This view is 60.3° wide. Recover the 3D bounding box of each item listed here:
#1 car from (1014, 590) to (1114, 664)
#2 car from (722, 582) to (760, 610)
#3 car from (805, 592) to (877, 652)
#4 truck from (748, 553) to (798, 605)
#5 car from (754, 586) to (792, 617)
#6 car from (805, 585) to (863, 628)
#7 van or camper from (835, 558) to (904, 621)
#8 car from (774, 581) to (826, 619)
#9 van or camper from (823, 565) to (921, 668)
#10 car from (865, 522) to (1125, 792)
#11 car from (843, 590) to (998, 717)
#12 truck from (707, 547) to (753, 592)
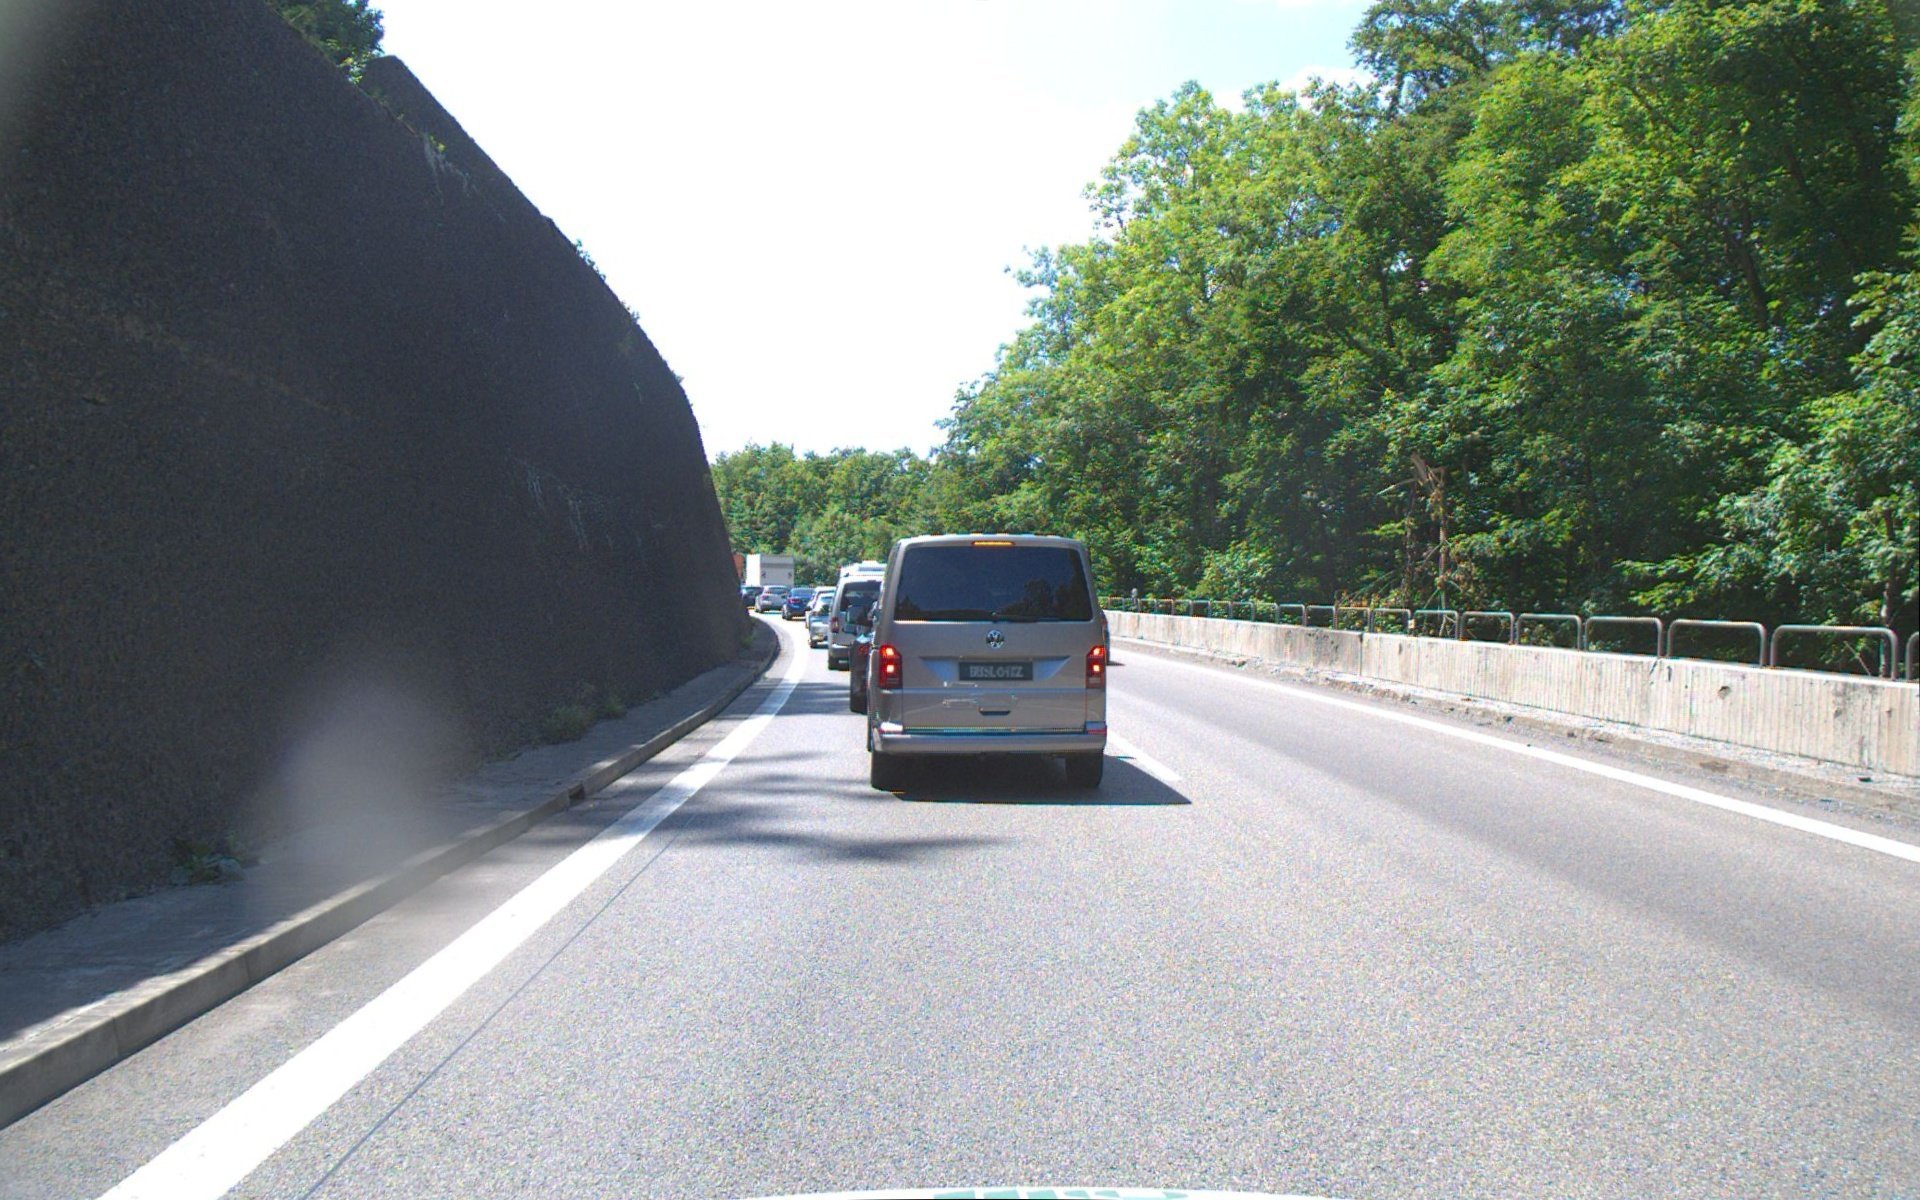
[{"bbox_3d":[2.207,0.542,35.998,1.651,1.484,3.997,2,0,-4],"label":"car"},{"bbox_3d":[-13.307,-0.262,100.396,1.723,1.598,3.754,1,0,-16],"label":"car"},{"bbox_3d":[-3.166,0.560,44.649,1.736,1.498,3.999,1,0,-2],"label":"car"},{"bbox_3d":[-13.917,-1.540,122.429,2.875,3.751,7.699,0,0,-13],"label":"truck"},{"bbox_3d":[-10.067,0.077,89.167,1.955,1.646,3.995,0,0,-6],"label":"car"},{"bbox_3d":[-4.655,0.227,60.864,1.828,1.512,3.992,0,0,-9],"label":"car"},{"bbox_3d":[-4.698,-0.549,84.807,2.557,2.904,6.320,5,0,-10],"label":"van or camper"},{"bbox_3d":[-7.233,-0.014,74.367,1.825,1.648,3.987,1,0,-13],"label":"car"},{"bbox_3d":[-1.847,0.298,33.659,1.817,1.976,4.160,0,0,-5],"label":"van or camper"},{"bbox_3d":[0.141,0.406,14.515,1.902,1.965,4.691,1,0,-3],"label":"car"},{"bbox_3d":[-0.636,0.654,22.602,1.867,1.515,4.375,2,0,-4],"label":"car"},{"bbox_3d":[-20.312,-2.708,145.906,3.109,3.527,8.196,5,0,-13],"label":"truck"}]
